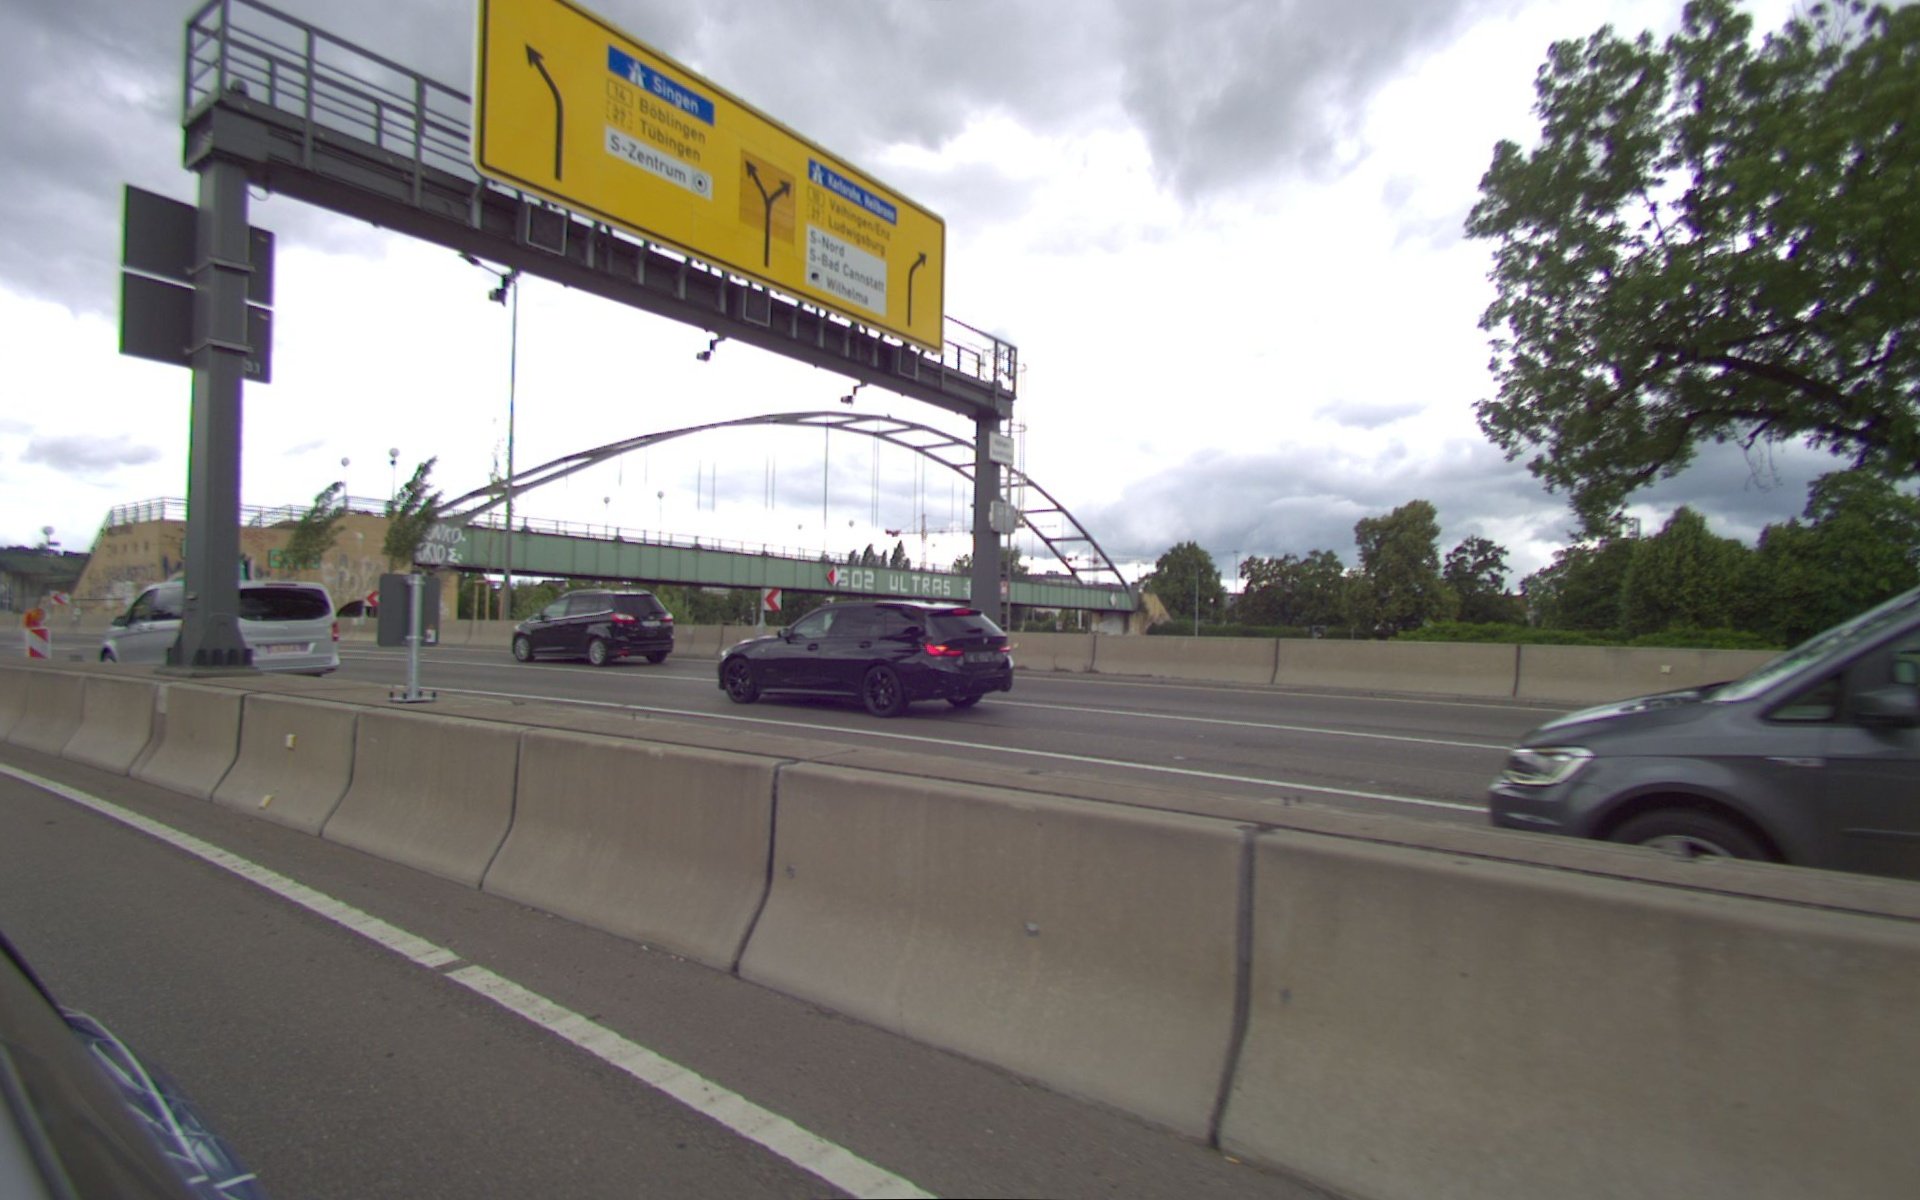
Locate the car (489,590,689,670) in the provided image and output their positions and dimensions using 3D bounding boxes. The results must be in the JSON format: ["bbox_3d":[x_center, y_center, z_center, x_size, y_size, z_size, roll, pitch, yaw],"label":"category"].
[{"bbox_3d":[-8.671,0.641,23.552,4.714,1.685,1.978,0,0,33],"label":"car"}]

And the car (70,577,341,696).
[{"bbox_3d":[-13.385,0.570,17.818,5.775,1.820,1.936,0,0,33],"label":"car"}]

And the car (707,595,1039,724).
[{"bbox_3d":[-1.312,0.690,13.711,4.569,1.464,1.843,0,-1,41],"label":"car"}]

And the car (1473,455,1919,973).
[{"bbox_3d":[4.759,0.412,3.562,4.954,1.819,1.881,-1,-2,43],"label":"car"}]
